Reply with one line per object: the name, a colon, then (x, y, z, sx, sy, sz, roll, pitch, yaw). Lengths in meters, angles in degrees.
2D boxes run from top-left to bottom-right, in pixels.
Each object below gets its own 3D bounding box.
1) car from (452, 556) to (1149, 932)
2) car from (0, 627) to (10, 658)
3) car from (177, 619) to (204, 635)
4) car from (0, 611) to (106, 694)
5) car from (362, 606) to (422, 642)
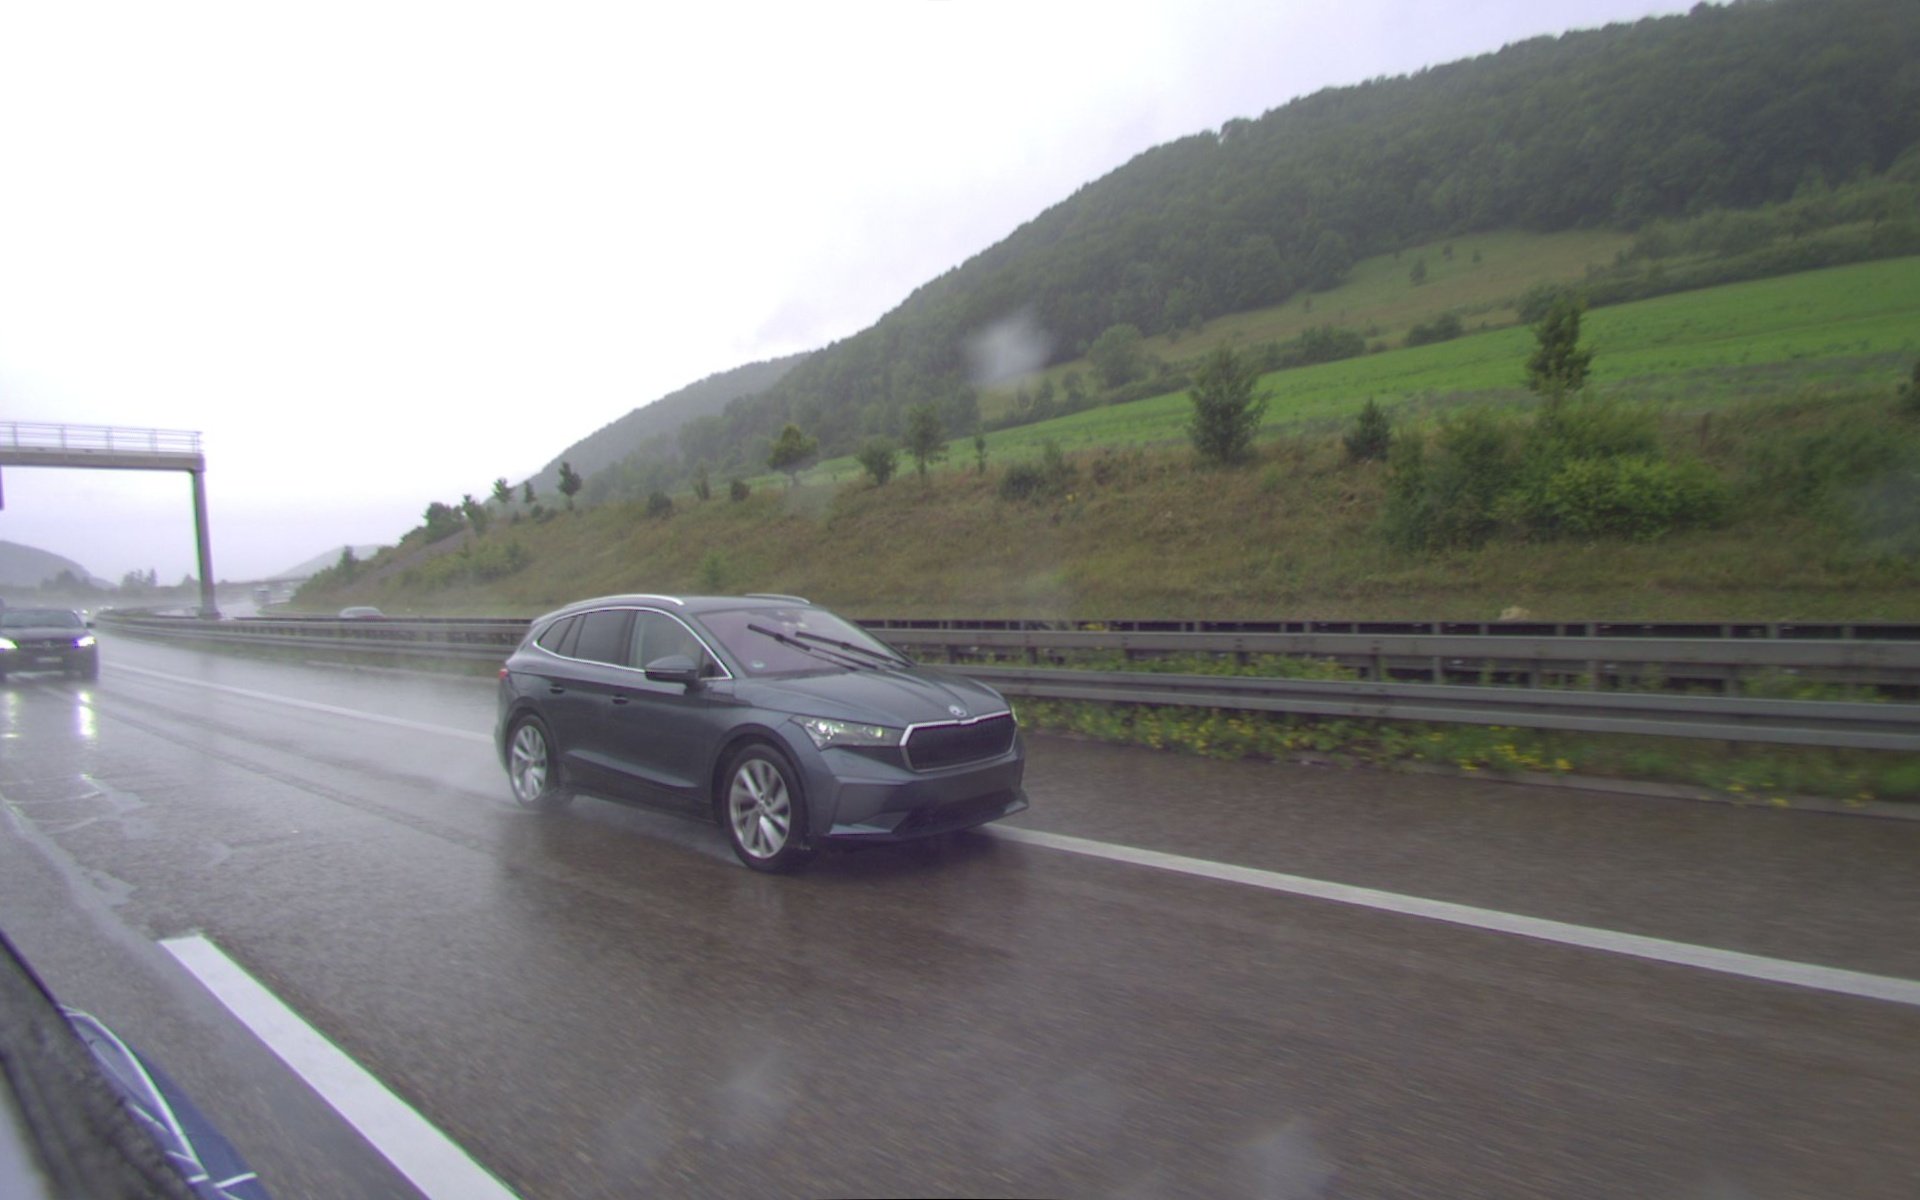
car: (-1.363, 0.680, 6.911, 4.905, 1.696, 1.973, -1, -1, 40)
car: (-63.908, 2.809, 66.440, 3.933, 2.029, 1.961, -2, -1, 43)
car: (-85.917, 3.017, 112.943, 4.000, 1.704, 1.757, -1, 0, 43)
car: (-21.790, 1.174, 24.194, 1.789, 1.715, 3.751, -3, 2, -44)
car: (-29.673, 1.228, 52.824, 3.682, 1.807, 1.661, -1, -1, 42)
